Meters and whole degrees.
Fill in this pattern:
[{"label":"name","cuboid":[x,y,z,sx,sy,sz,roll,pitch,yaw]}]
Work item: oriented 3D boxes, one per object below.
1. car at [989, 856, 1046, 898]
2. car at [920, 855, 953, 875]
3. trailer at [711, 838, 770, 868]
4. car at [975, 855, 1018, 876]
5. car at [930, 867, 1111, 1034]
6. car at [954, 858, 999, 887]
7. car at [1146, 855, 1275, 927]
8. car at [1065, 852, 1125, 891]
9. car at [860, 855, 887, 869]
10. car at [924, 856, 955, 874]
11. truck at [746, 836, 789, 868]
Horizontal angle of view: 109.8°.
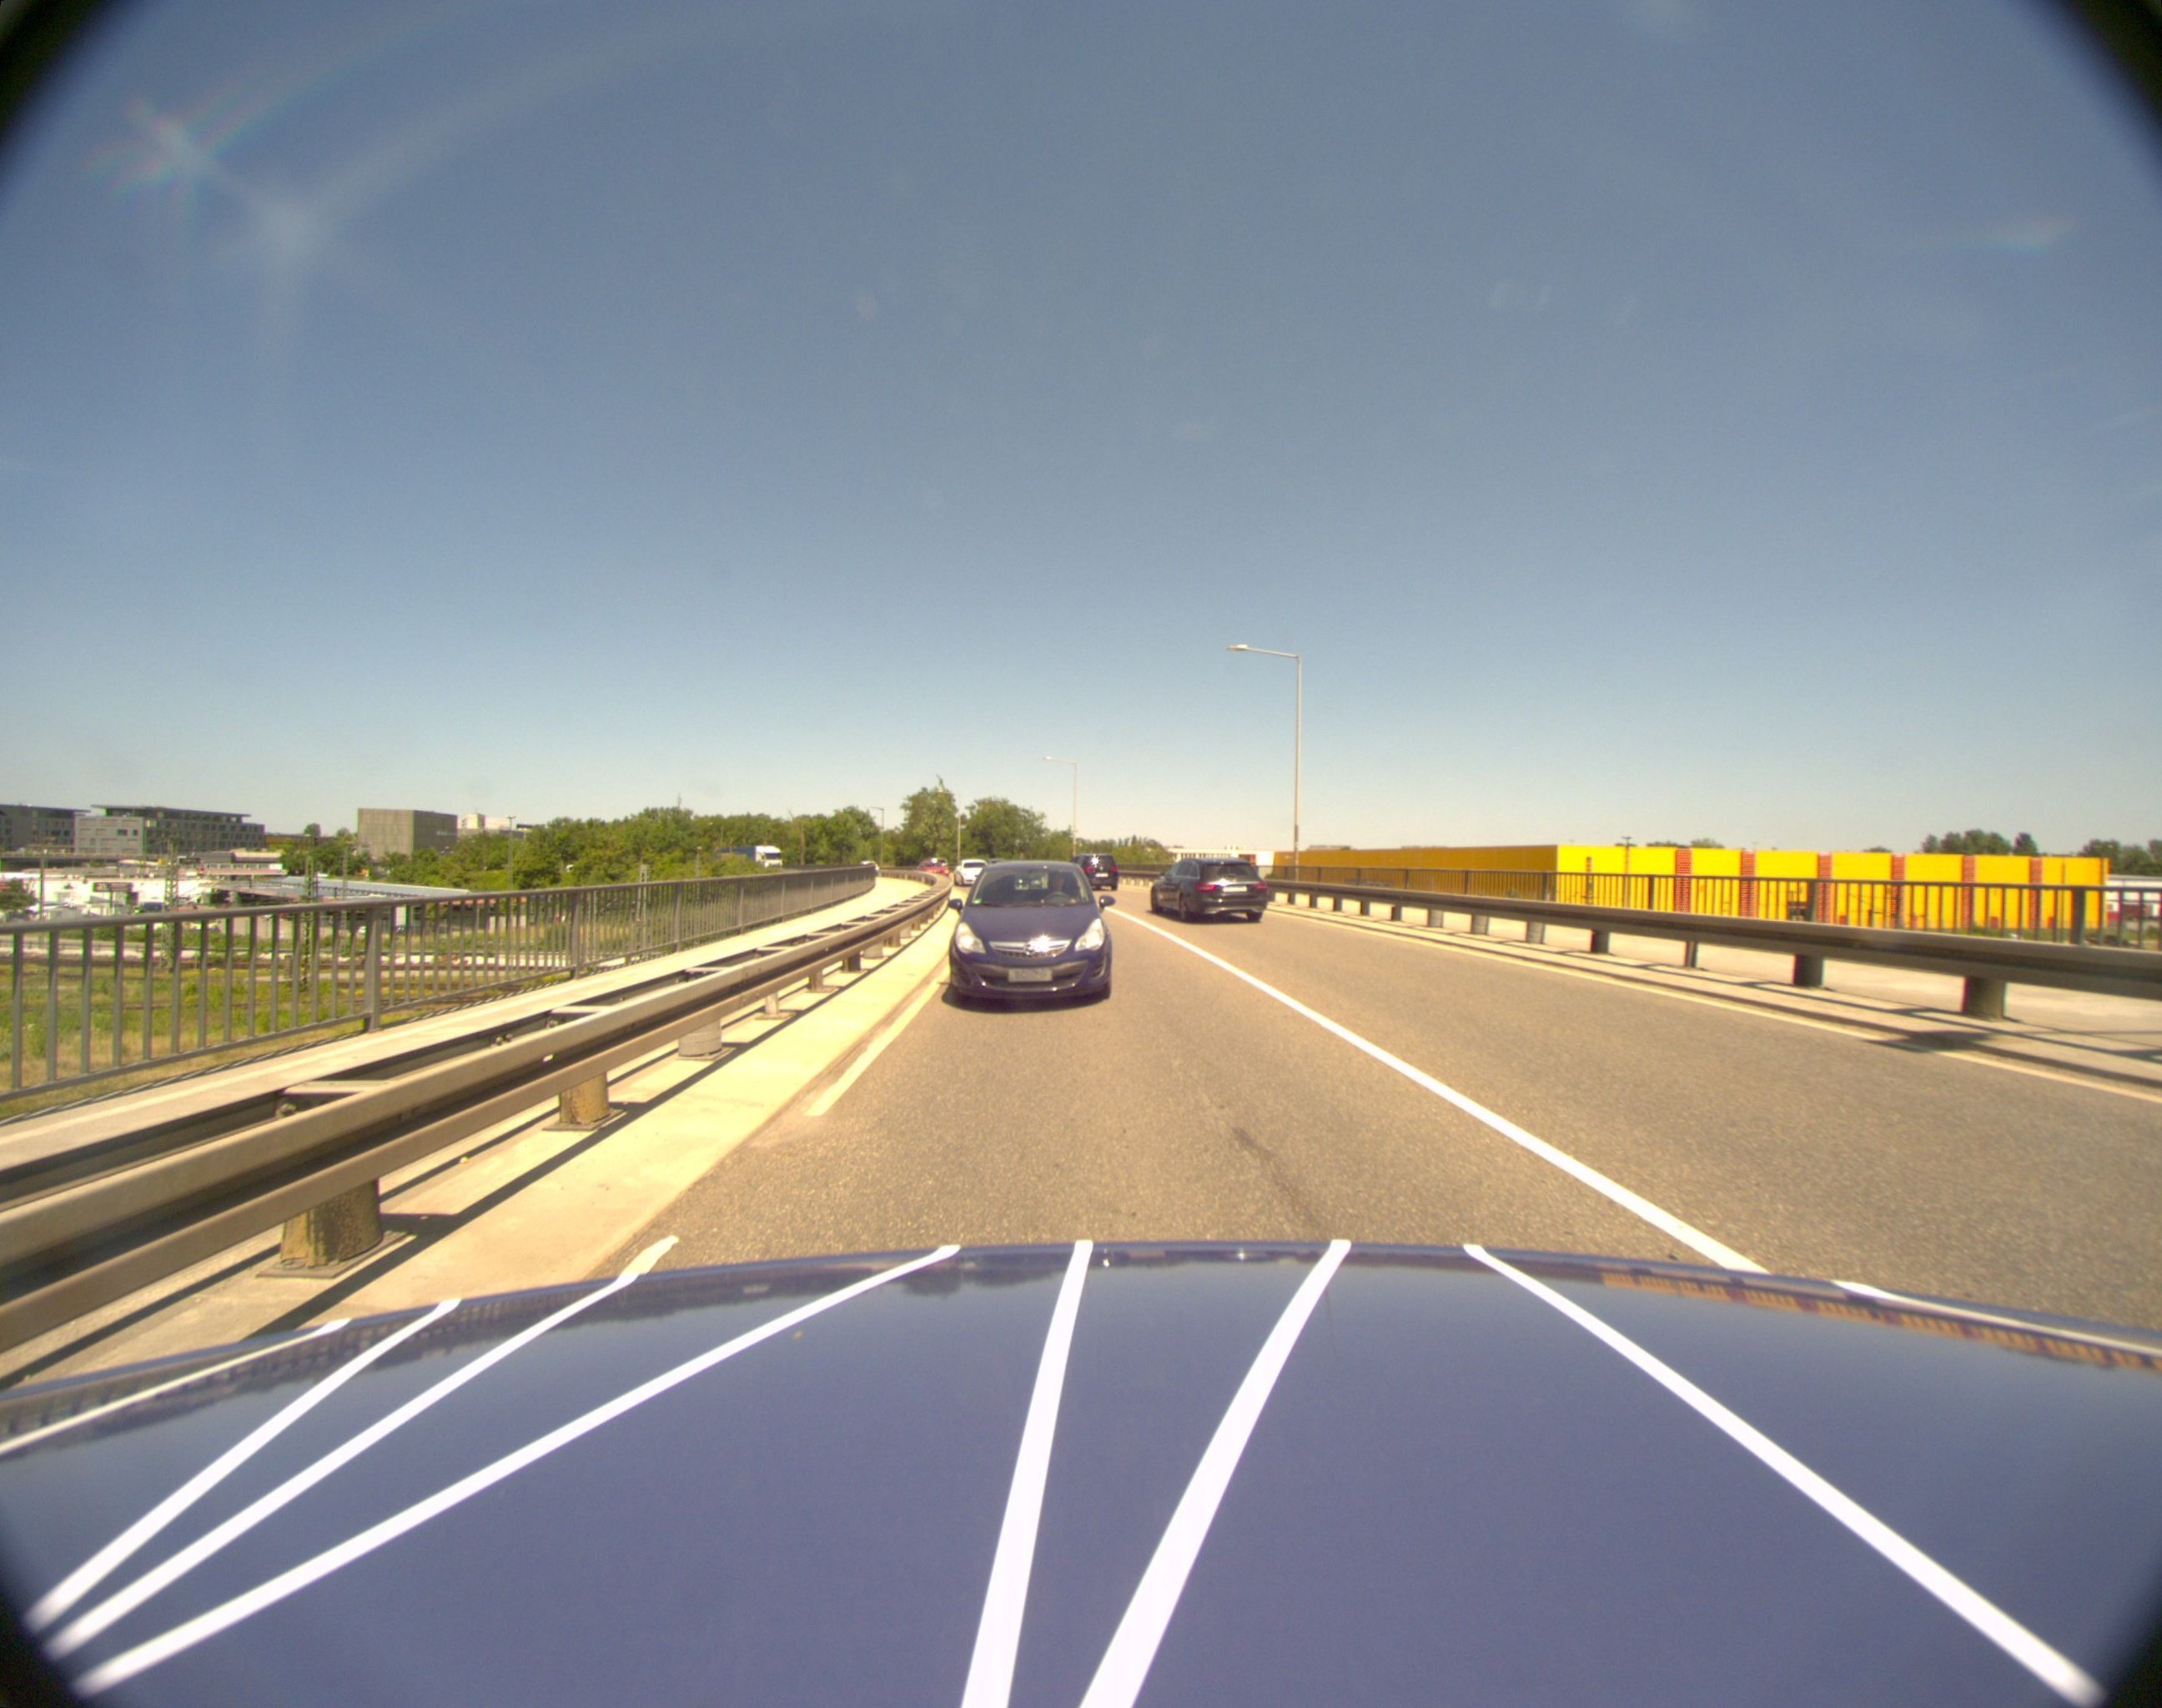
[{"label":"car","cuboid":[-2.570,0.839,29.699,1.796,1.446,4.519,-2,0,-10]},{"label":"car","cuboid":[-10.900,0.802,57.121,1.797,1.446,4.515,-1,0,-19]},{"label":"trailer","cuboid":[-50.150,-0.093,111.594,12.677,4.210,2.707,-1,2,41]},{"label":"car","cuboid":[-6.153,0.801,55.047,1.783,1.499,4.185,-1,0,-26]},{"label":"car","cuboid":[-0.536,0.931,9.074,1.644,1.431,4.000,-2,0,1]},{"label":"car","cuboid":[-5.801,0.972,41.919,1.796,1.446,4.517,-2,0,-16]},{"label":"car","cuboid":[2.914,0.778,18.093,1.778,1.430,4.388,-1,0,-8]},{"label":"car","cuboid":[0.552,0.735,34.150,1.778,1.616,4.249,-1,0,-11]},{"label":"car","cuboid":[-24.040,0.954,87.801,1.702,1.598,3.990,0,0,-36]},{"label":"car","cuboid":[-13.318,0.984,71.465,1.702,1.598,3.991,-1,0,-29]},{"label":"truck","cuboid":[-43.776,-0.271,106.018,6.820,4.204,2.702,-1,2,42]}]
